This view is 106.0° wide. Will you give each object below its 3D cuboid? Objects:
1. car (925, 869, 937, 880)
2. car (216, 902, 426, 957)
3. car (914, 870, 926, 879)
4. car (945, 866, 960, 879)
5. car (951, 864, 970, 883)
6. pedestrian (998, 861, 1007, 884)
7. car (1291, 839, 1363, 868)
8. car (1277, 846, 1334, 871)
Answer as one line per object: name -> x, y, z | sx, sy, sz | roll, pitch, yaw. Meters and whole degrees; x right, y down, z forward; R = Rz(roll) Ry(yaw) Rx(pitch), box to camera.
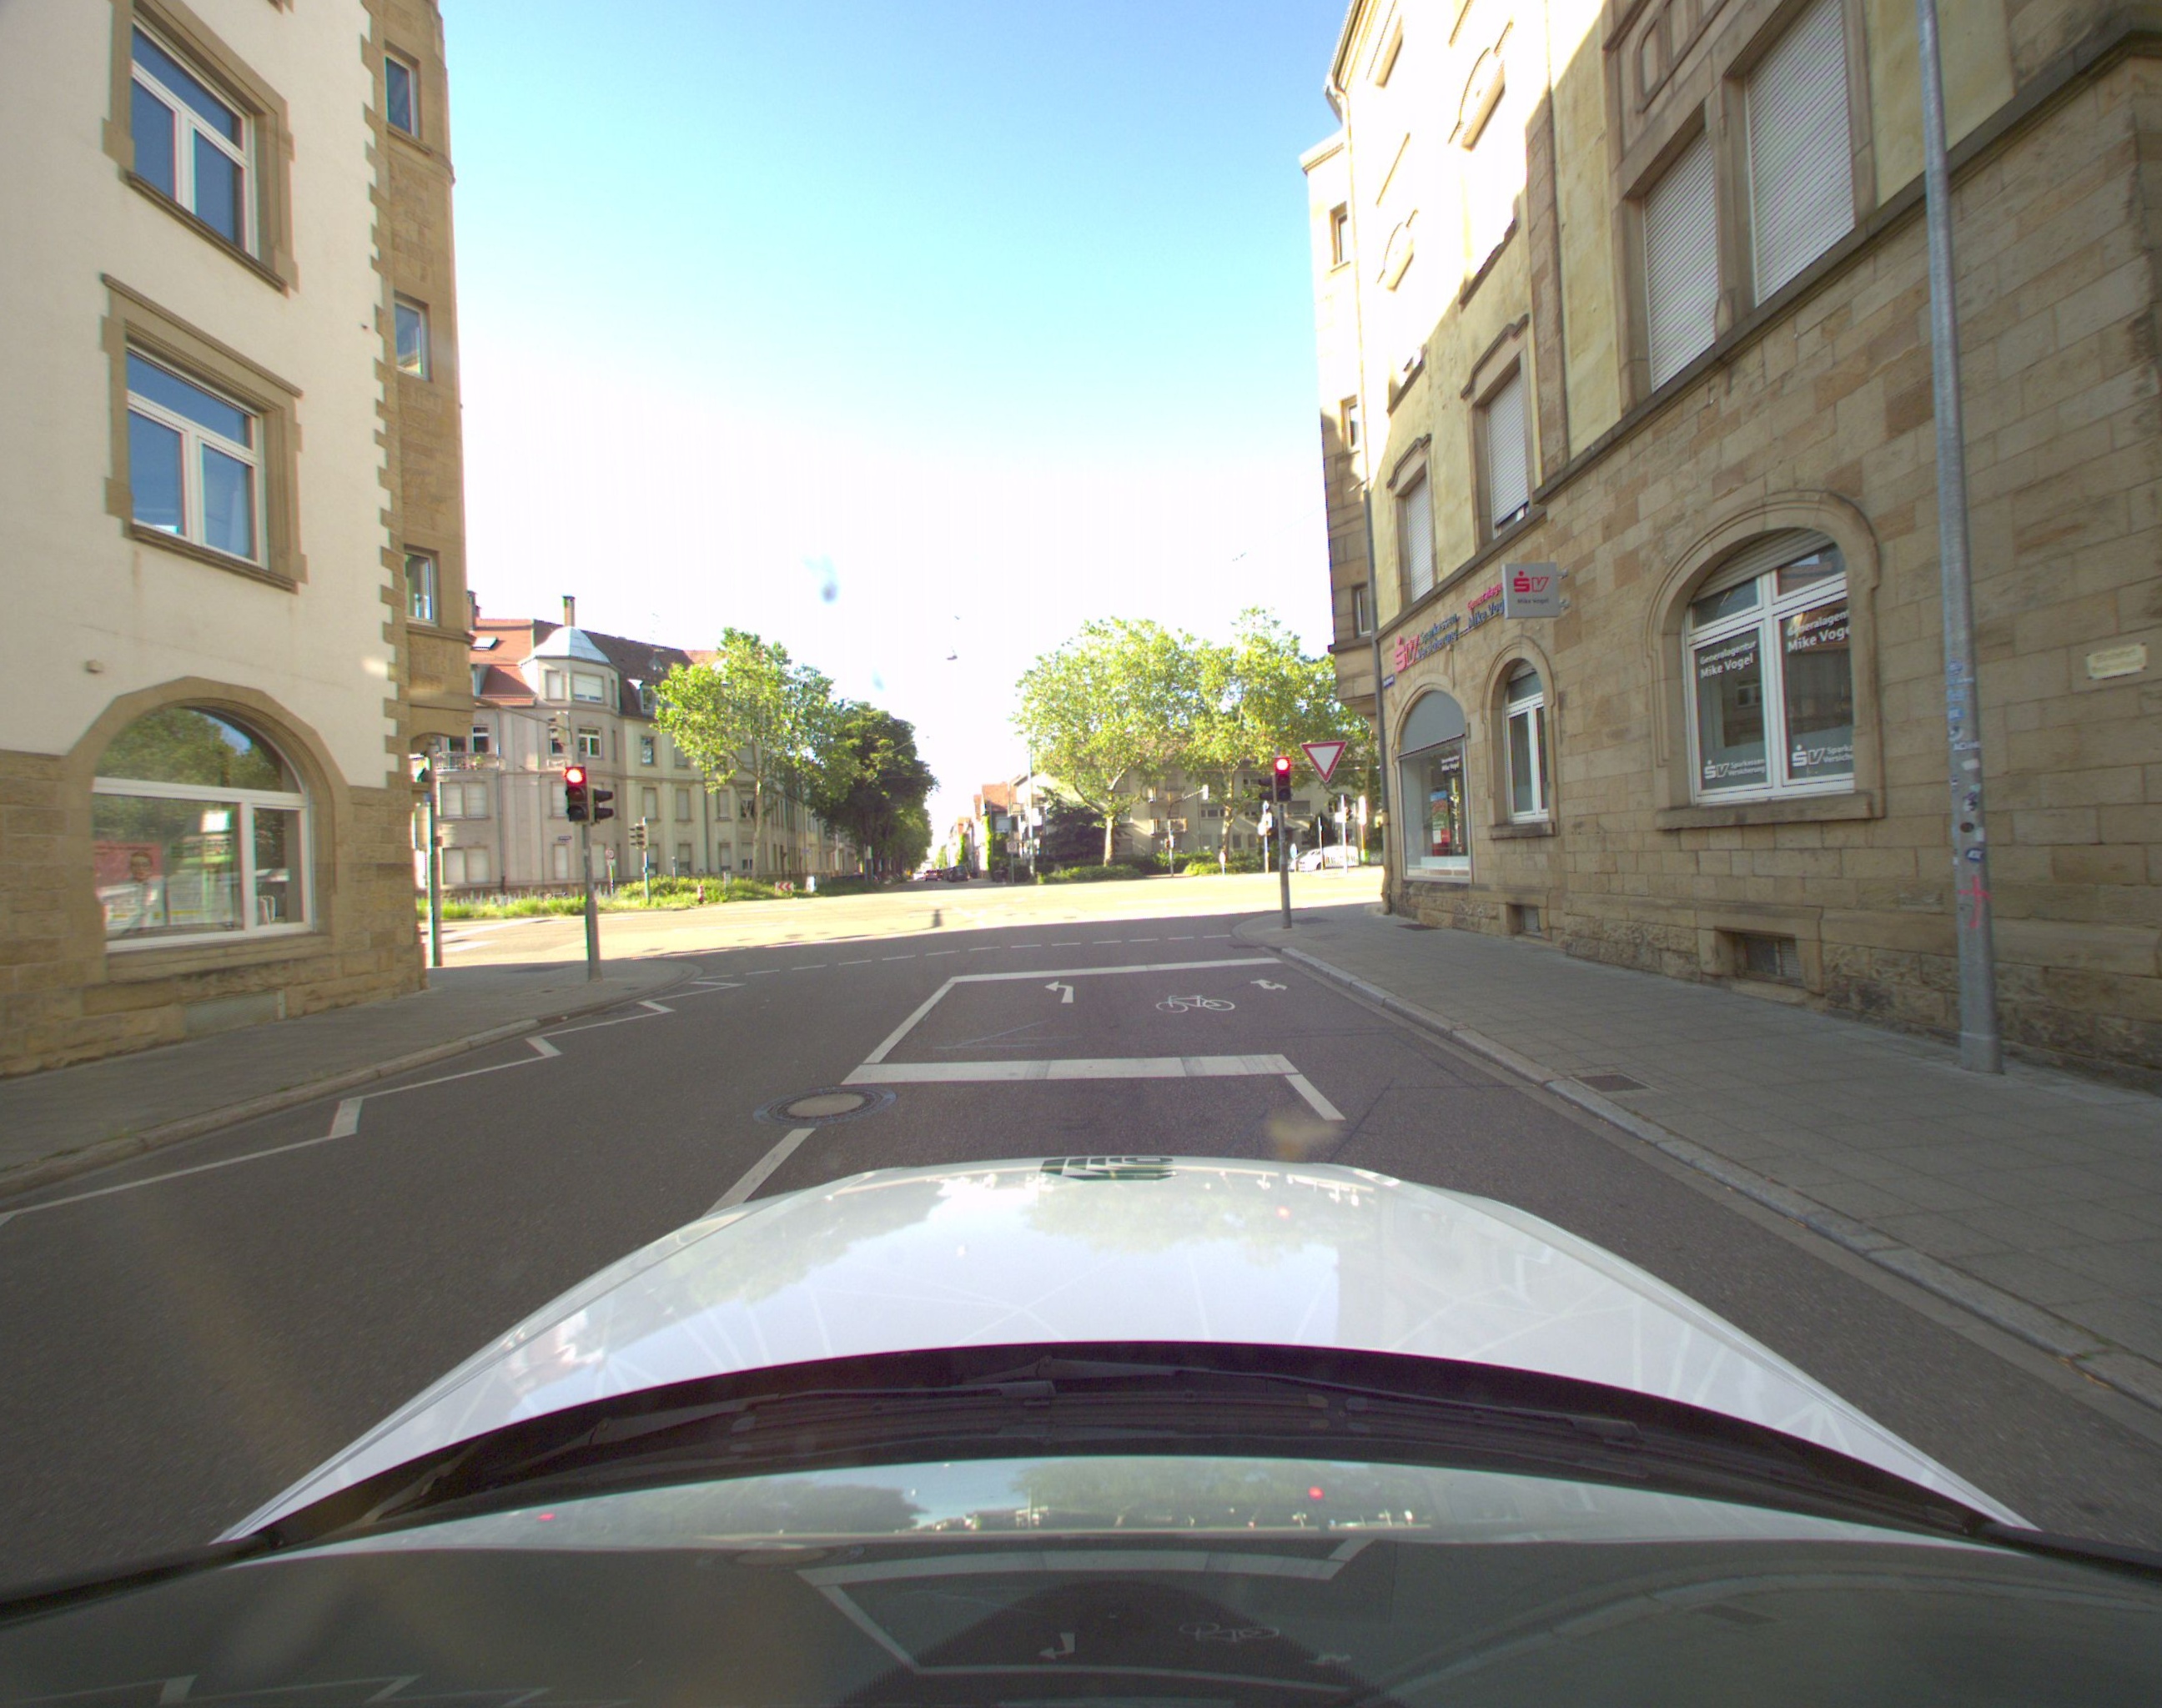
car -> -22.279, 3.029, 120.906 | 1.673, 1.483, 3.511 | -2, -1, -9
car -> -21.744, 2.134, 23.489 | 3.995, 1.319, 1.812 | 0, -1, -16
car -> -29.170, 3.747, 147.210 | 1.996, 1.445, 3.983 | -3, 0, -13
car -> -20.229, 2.921, 127.894 | 1.997, 1.832, 3.980 | -2, -1, -14
car -> -14.330, 2.288, 97.056 | 1.992, 2.013, 3.989 | -3, 0, -8
pedestrian -> -6.016, 1.396, 62.364 | 0.631, 1.750, 0.658 | -2, -1, -3
car -> 14.614, -0.017, 48.395 | 3.799, 1.472, 1.619 | -3, 0, -19
car -> 15.154, 0.334, 55.032 | 3.391, 1.487, 1.514 | -3, 0, -21
